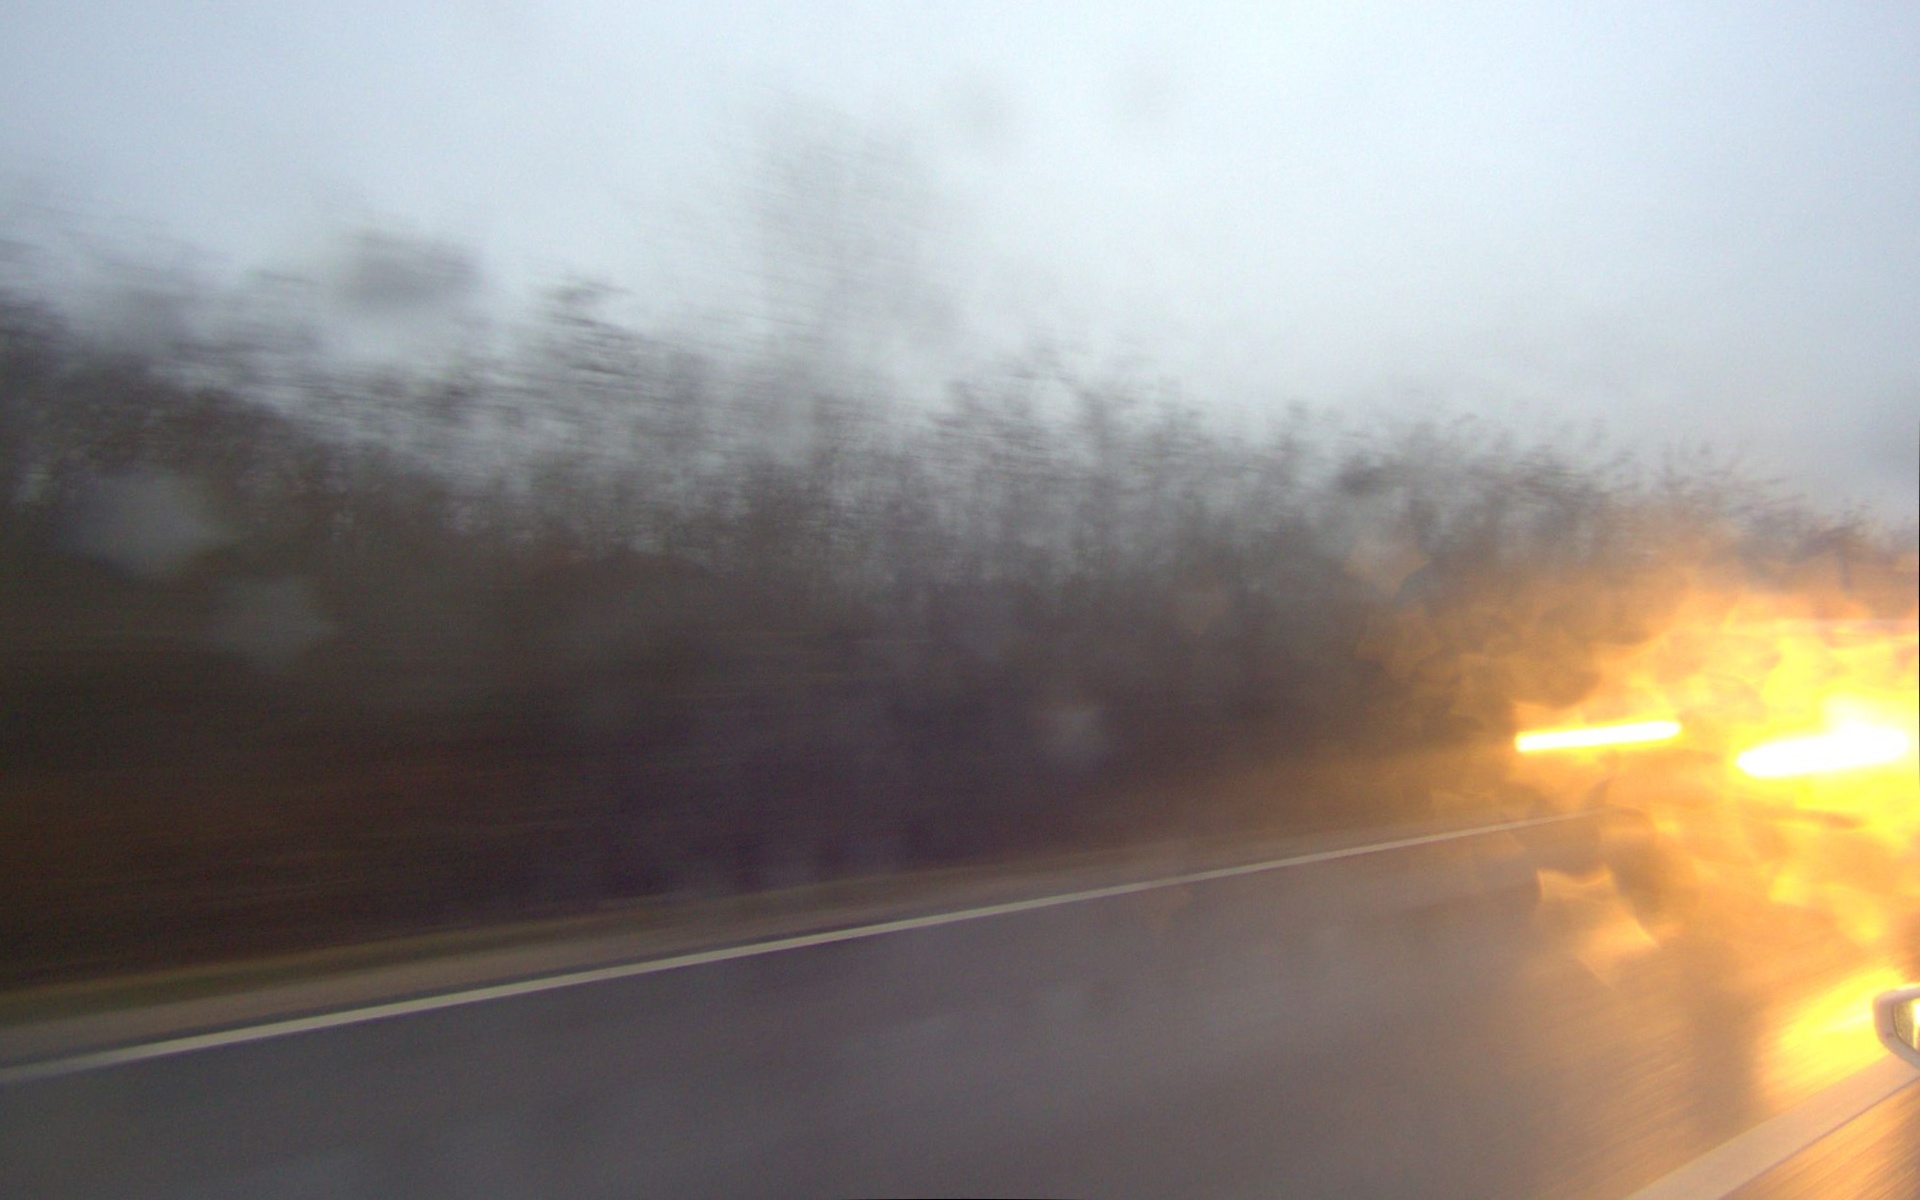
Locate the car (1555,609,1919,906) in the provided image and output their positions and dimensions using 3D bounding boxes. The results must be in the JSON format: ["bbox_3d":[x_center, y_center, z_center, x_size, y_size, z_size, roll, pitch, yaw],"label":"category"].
[{"bbox_3d":[6.309,0.947,7.299,3.955,1.619,1.758,2,-3,-31],"label":"car"}]
